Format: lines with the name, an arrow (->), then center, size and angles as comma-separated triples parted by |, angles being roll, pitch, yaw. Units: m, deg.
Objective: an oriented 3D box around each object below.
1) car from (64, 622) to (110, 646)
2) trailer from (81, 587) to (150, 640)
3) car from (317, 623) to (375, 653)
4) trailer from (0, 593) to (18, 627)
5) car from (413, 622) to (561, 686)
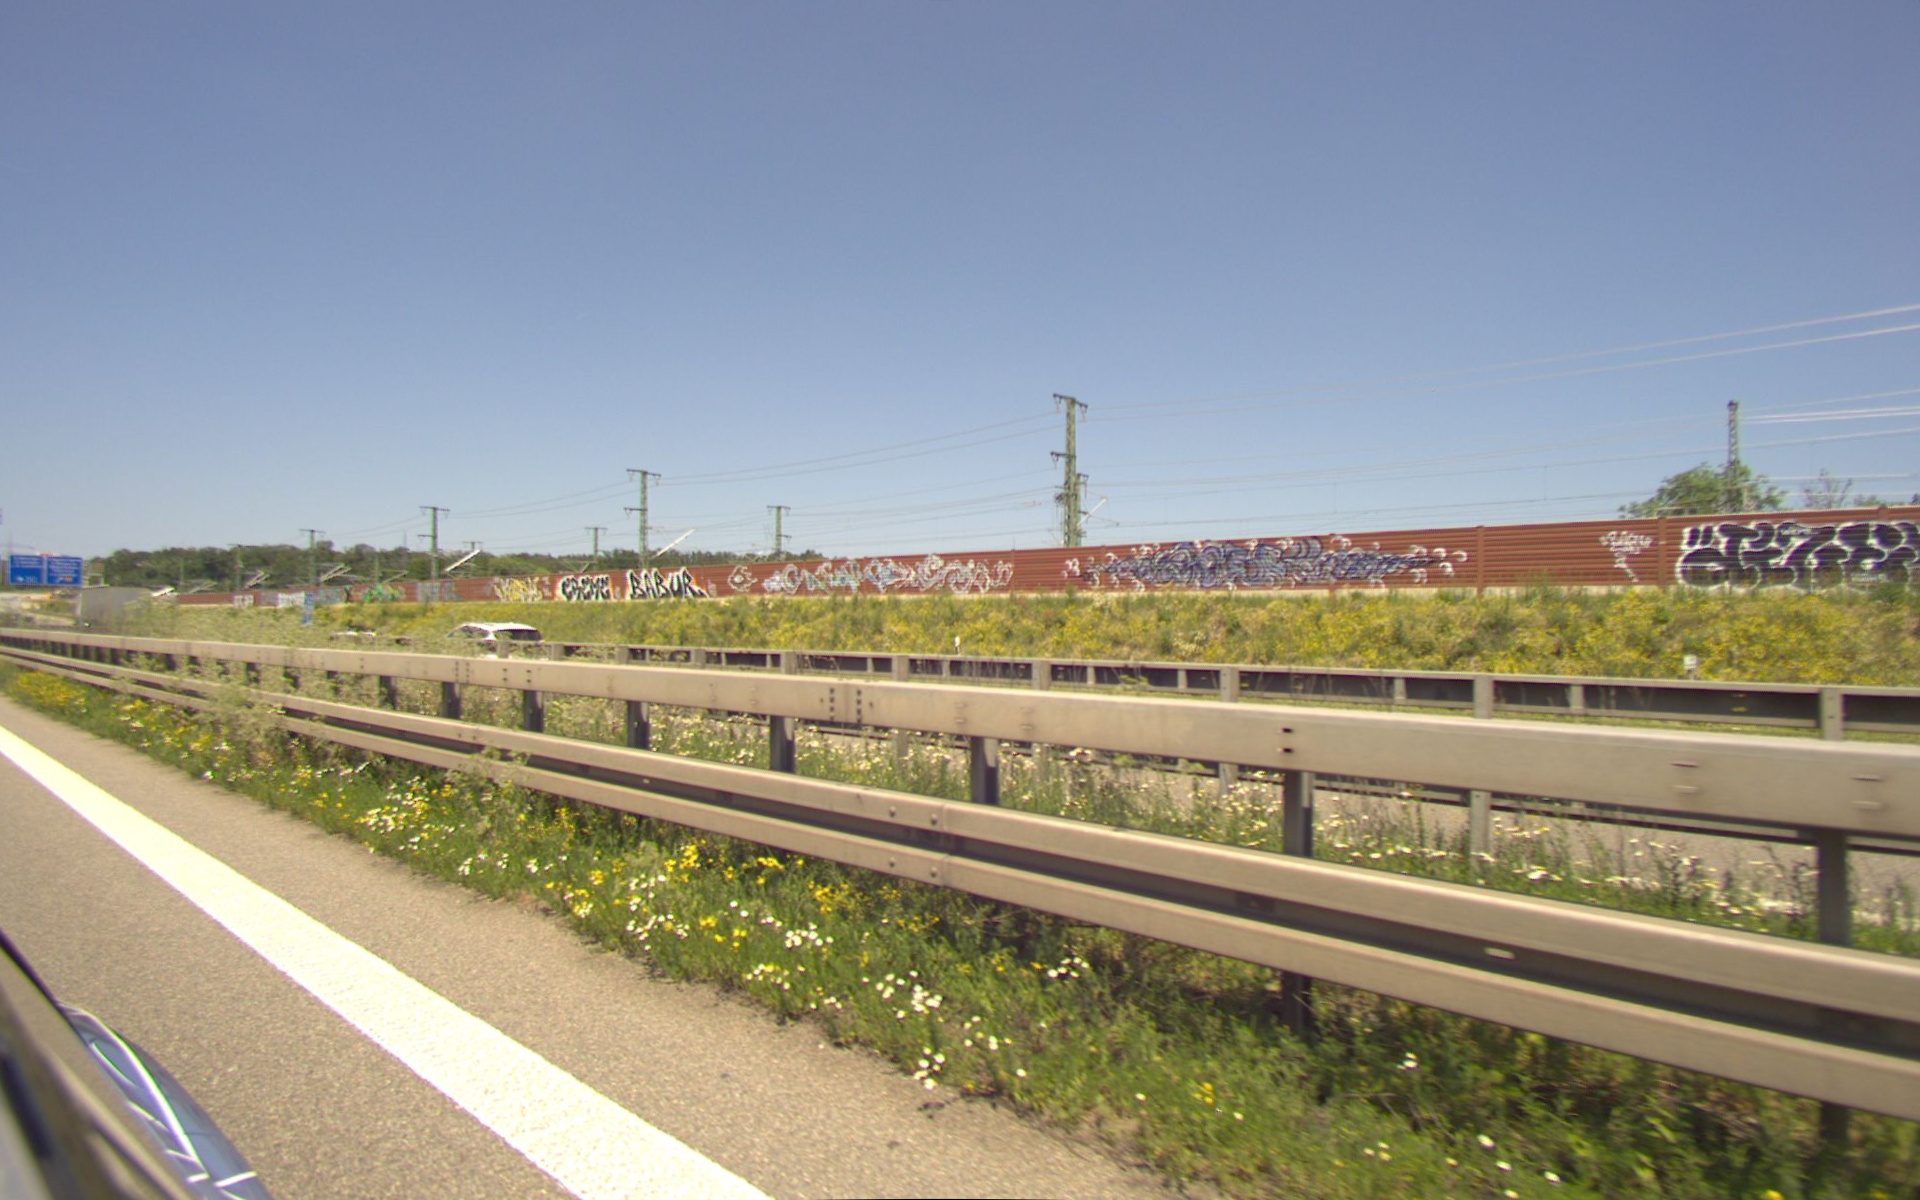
car -> -57.415, 2.197, 66.524 | 3.841, 1.490, 1.797 | -1, -1, 42
trailer -> -69.793, 1.157, 83.509 | 13.530, 4.105, 2.700 | -1, -2, 43
car -> -33.864, 2.063, 55.819 | 3.808, 1.556, 1.702 | -1, -1, 42
trailer -> -128.450, 1.331, 134.985 | 12.087, 4.441, 2.857 | -1, -2, 42
car -> -12.824, 1.375, 27.273 | 4.808, 1.556, 1.892 | -1, -1, 42
